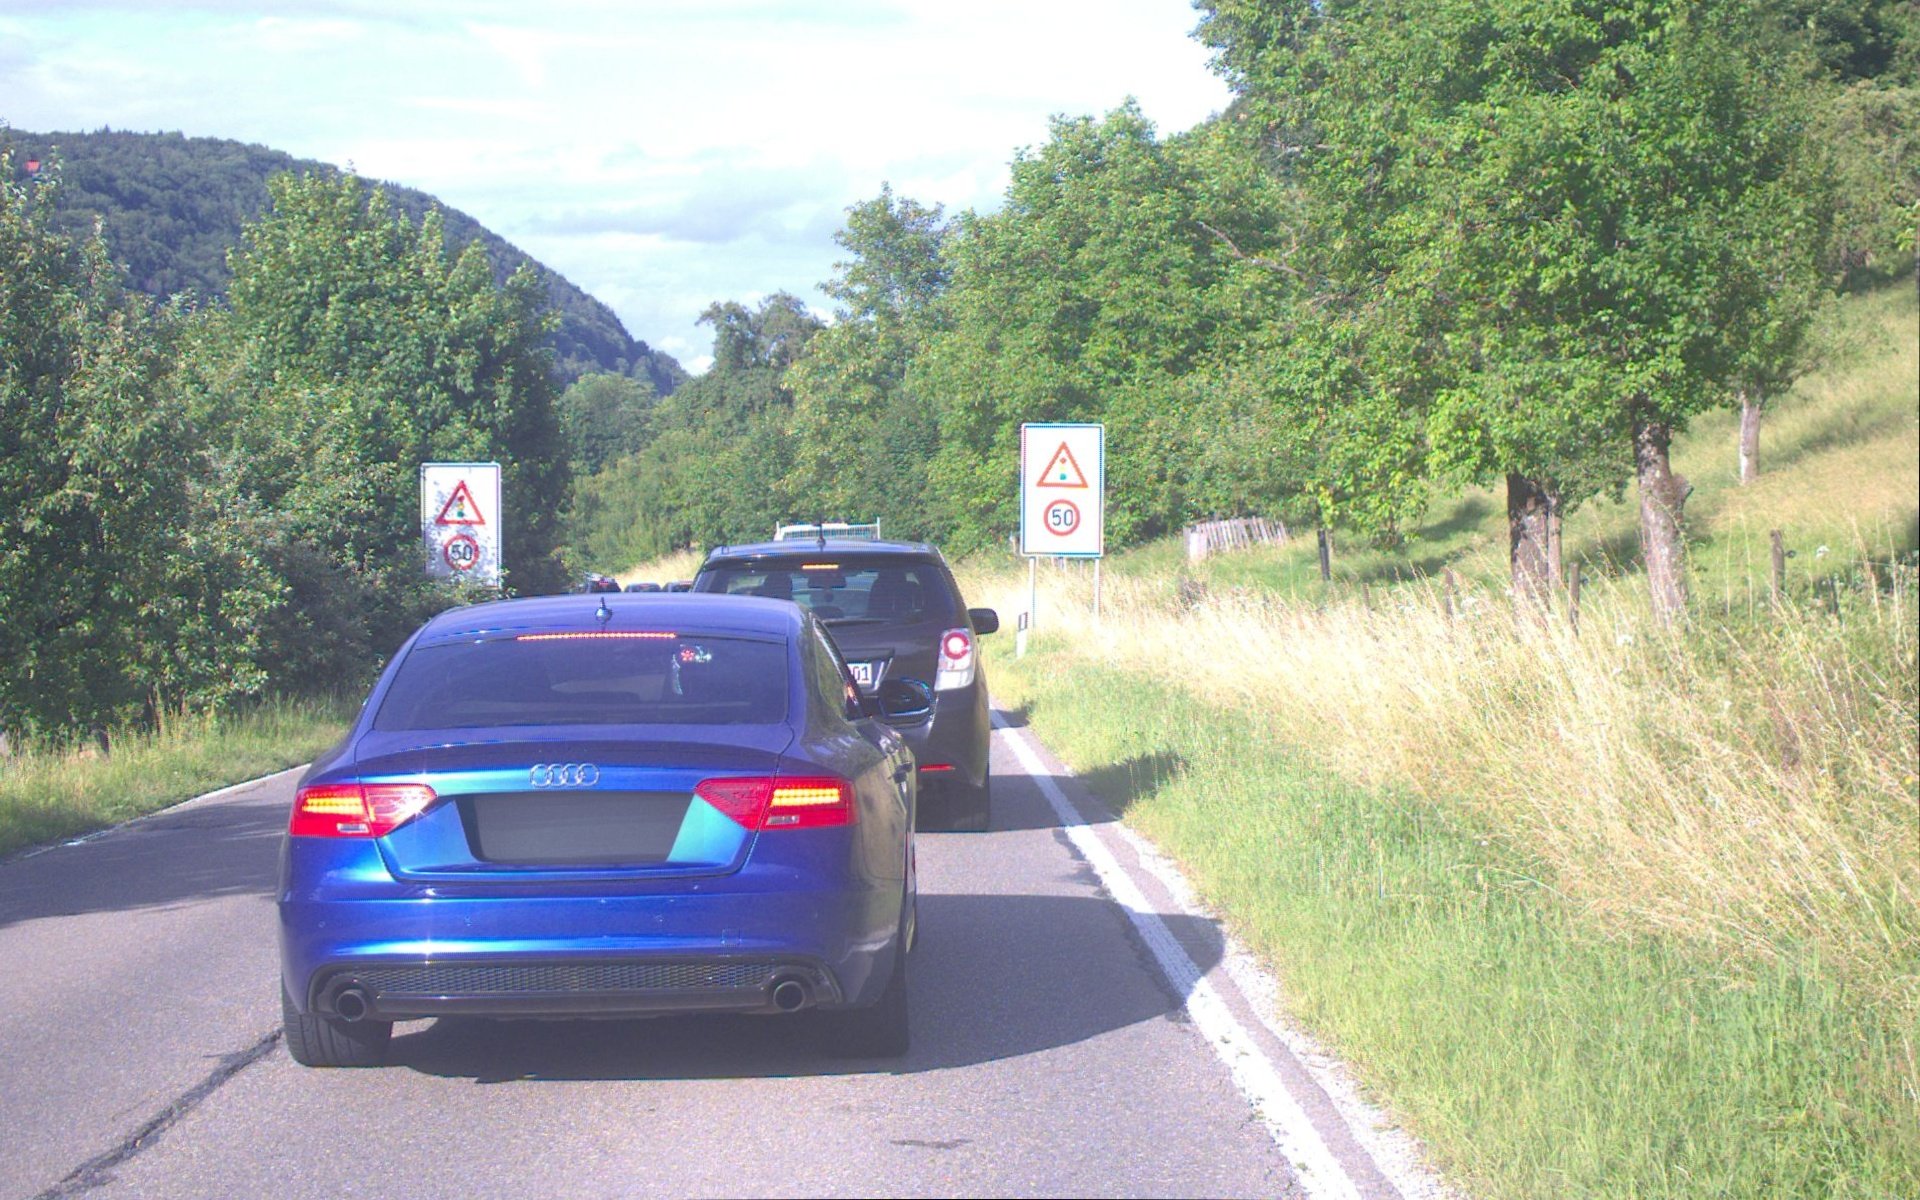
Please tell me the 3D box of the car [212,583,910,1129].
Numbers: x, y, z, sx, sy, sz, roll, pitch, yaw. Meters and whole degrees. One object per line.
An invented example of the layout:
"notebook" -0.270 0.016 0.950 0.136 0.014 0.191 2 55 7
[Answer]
"car" -1.077 0.662 11.139 1.805 1.377 4.215 -1 1 -1

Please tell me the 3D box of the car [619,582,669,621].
"car" -13.223 0.064 143.724 1.558 1.490 3.779 2 1 -12

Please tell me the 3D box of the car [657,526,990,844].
"car" -0.744 0.405 19.596 1.692 1.618 3.789 1 1 -1

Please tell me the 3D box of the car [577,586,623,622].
"car" -16.372 0.165 156.146 1.558 1.490 3.779 2 1 -13

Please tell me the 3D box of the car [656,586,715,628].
"car" -10.520 0.262 131.709 1.747 1.490 3.779 2 1 -12

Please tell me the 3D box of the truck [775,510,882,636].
"truck" -2.590 -0.553 68.011 1.950 2.337 5.094 2 1 -2

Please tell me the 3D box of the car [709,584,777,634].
"car" -7.027 0.283 111.072 1.747 1.490 3.779 2 1 -9

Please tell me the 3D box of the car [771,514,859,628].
"car" -3.296 -0.660 77.472 1.792 2.445 3.920 2 1 -4
